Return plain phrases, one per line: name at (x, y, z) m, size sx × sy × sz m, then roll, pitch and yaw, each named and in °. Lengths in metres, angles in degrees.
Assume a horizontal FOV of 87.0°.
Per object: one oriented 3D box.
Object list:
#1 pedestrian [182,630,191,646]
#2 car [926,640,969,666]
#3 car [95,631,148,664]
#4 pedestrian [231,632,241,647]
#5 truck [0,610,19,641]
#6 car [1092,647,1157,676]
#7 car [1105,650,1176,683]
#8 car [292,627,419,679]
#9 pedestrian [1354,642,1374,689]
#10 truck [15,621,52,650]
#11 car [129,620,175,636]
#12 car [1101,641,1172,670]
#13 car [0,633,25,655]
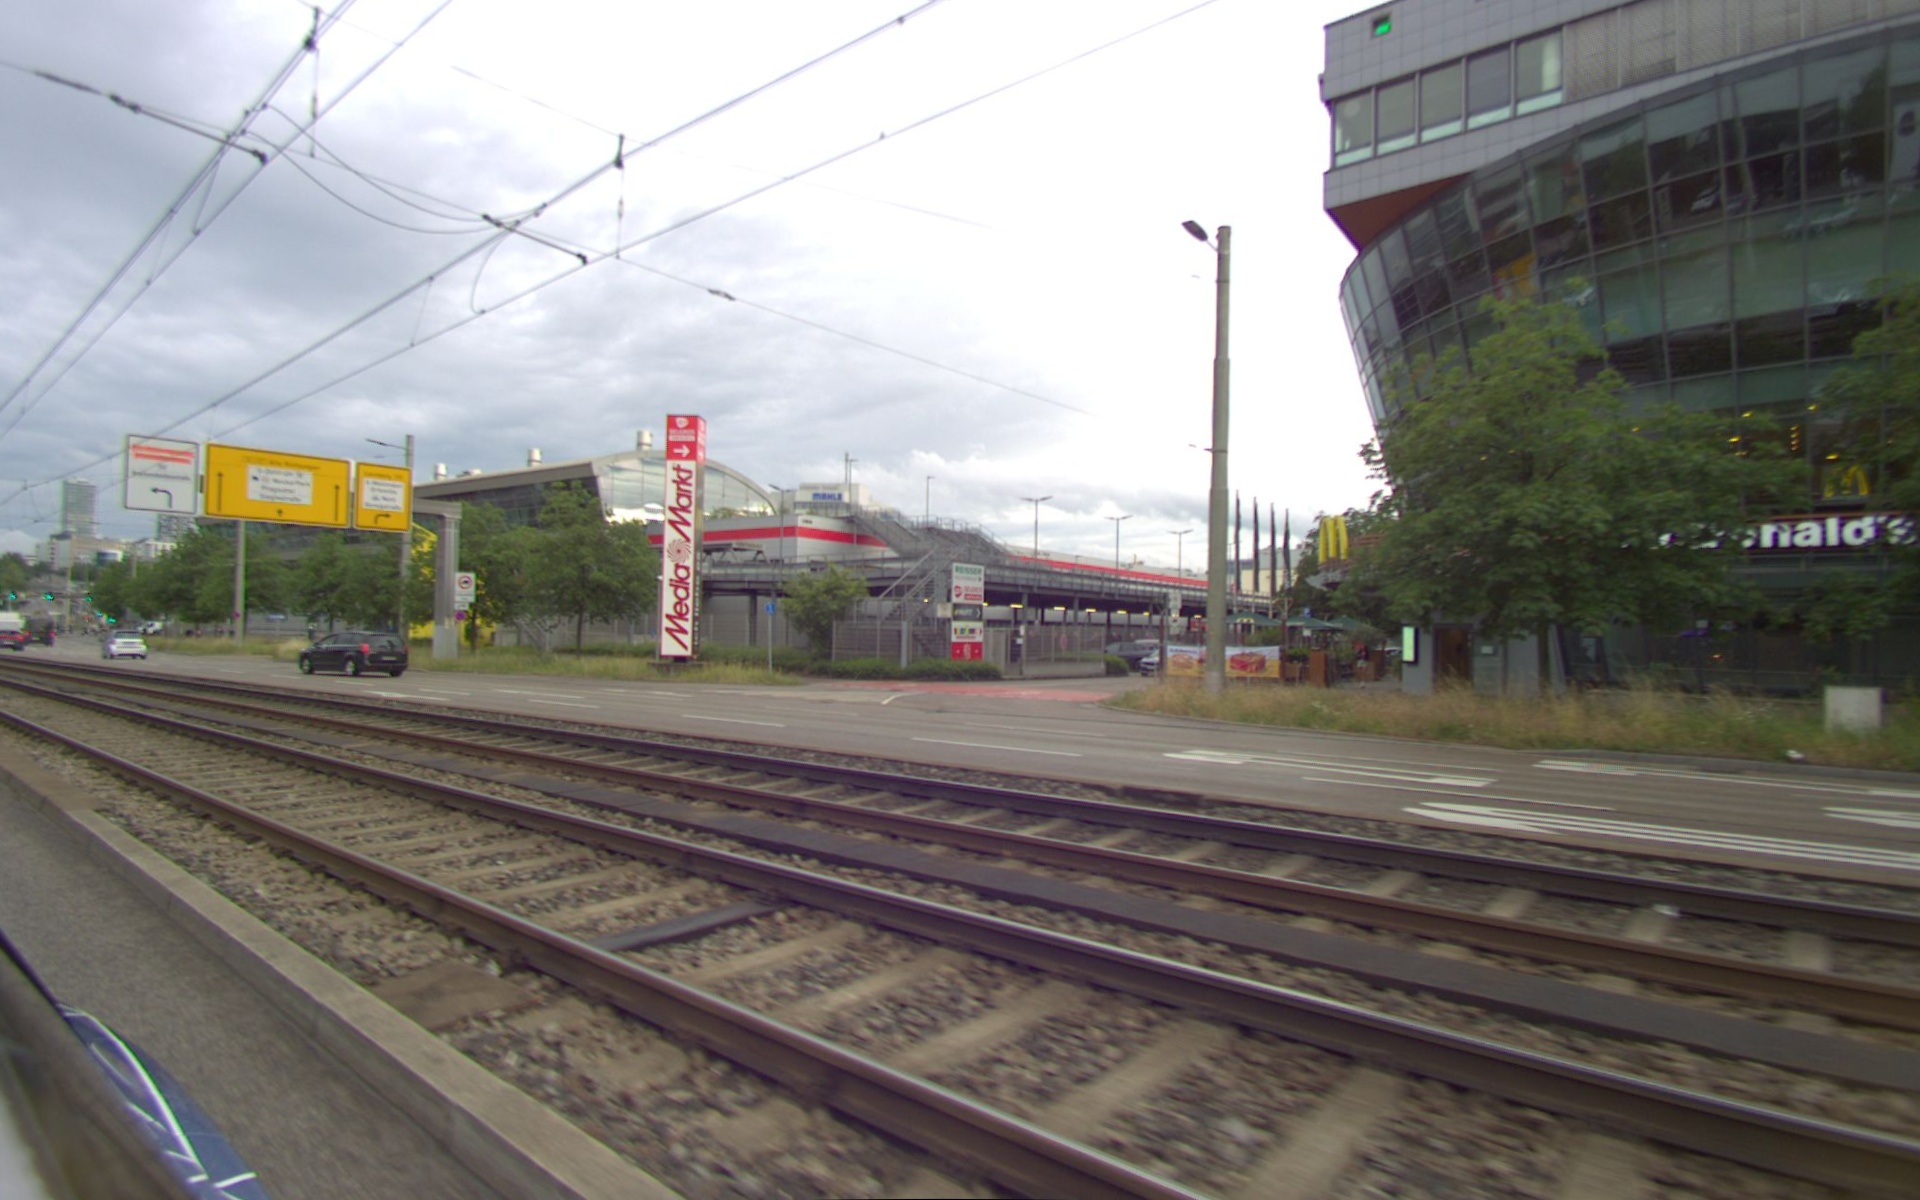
pedestrian at (-81.859, 4.025, 107.078) m, size 0.626 × 1.575 × 0.675 m, roll -1°, pitch 0°, yaw 40°
car at (-0.780, 3.129, 60.107) m, size 1.636 × 1.292 × 4.119 m, roll -1°, pitch 0°, yaw -14°
car at (-44.647, 2.543, 53.867) m, size 2.949 × 1.548 × 1.581 m, roll 1°, pitch -3°, yaw 41°
pedestrian at (-71.530, 3.878, 100.034) m, size 0.744 × 1.450 × 0.602 m, roll -1°, pitch 0°, yaw 36°
truck at (-113.530, 2.977, 119.613) m, size 7.153 × 3.383 × 2.697 m, roll 2°, pitch -2°, yaw 43°
car at (9.228, 3.427, 56.599) m, size 3.462 × 1.532 × 1.673 m, roll 0°, pitch -3°, yaw 14°
car at (8.961, 3.308, 50.006) m, size 1.728 × 1.476 × 3.947 m, roll -1°, pitch -5°, yaw 39°
car at (-21.664, 1.892, 36.273) m, size 4.193 × 1.749 × 1.981 m, roll -1°, pitch -5°, yaw 28°
pedestrian at (14.885, 2.403, 37.299) m, size 0.579 × 1.692 × 0.801 m, roll -1°, pitch -3°, yaw 30°
truck at (-86.322, 3.260, 94.238) m, size 2.213 × 2.584 × 7.018 m, roll 3°, pitch -3°, yaw -45°
car at (-120.579, 4.157, 151.104) m, size 1.991 × 2.350 × 5.015 m, roll -1°, pitch -3°, yaw 28°
car at (10.379, 3.269, 59.507) m, size 3.966 × 1.638 × 1.774 m, roll -1°, pitch -1°, yaw 17°
car at (-63.411, 2.885, 66.894) m, size 4.233 × 1.440 × 1.784 m, roll -2°, pitch -4°, yaw 40°
